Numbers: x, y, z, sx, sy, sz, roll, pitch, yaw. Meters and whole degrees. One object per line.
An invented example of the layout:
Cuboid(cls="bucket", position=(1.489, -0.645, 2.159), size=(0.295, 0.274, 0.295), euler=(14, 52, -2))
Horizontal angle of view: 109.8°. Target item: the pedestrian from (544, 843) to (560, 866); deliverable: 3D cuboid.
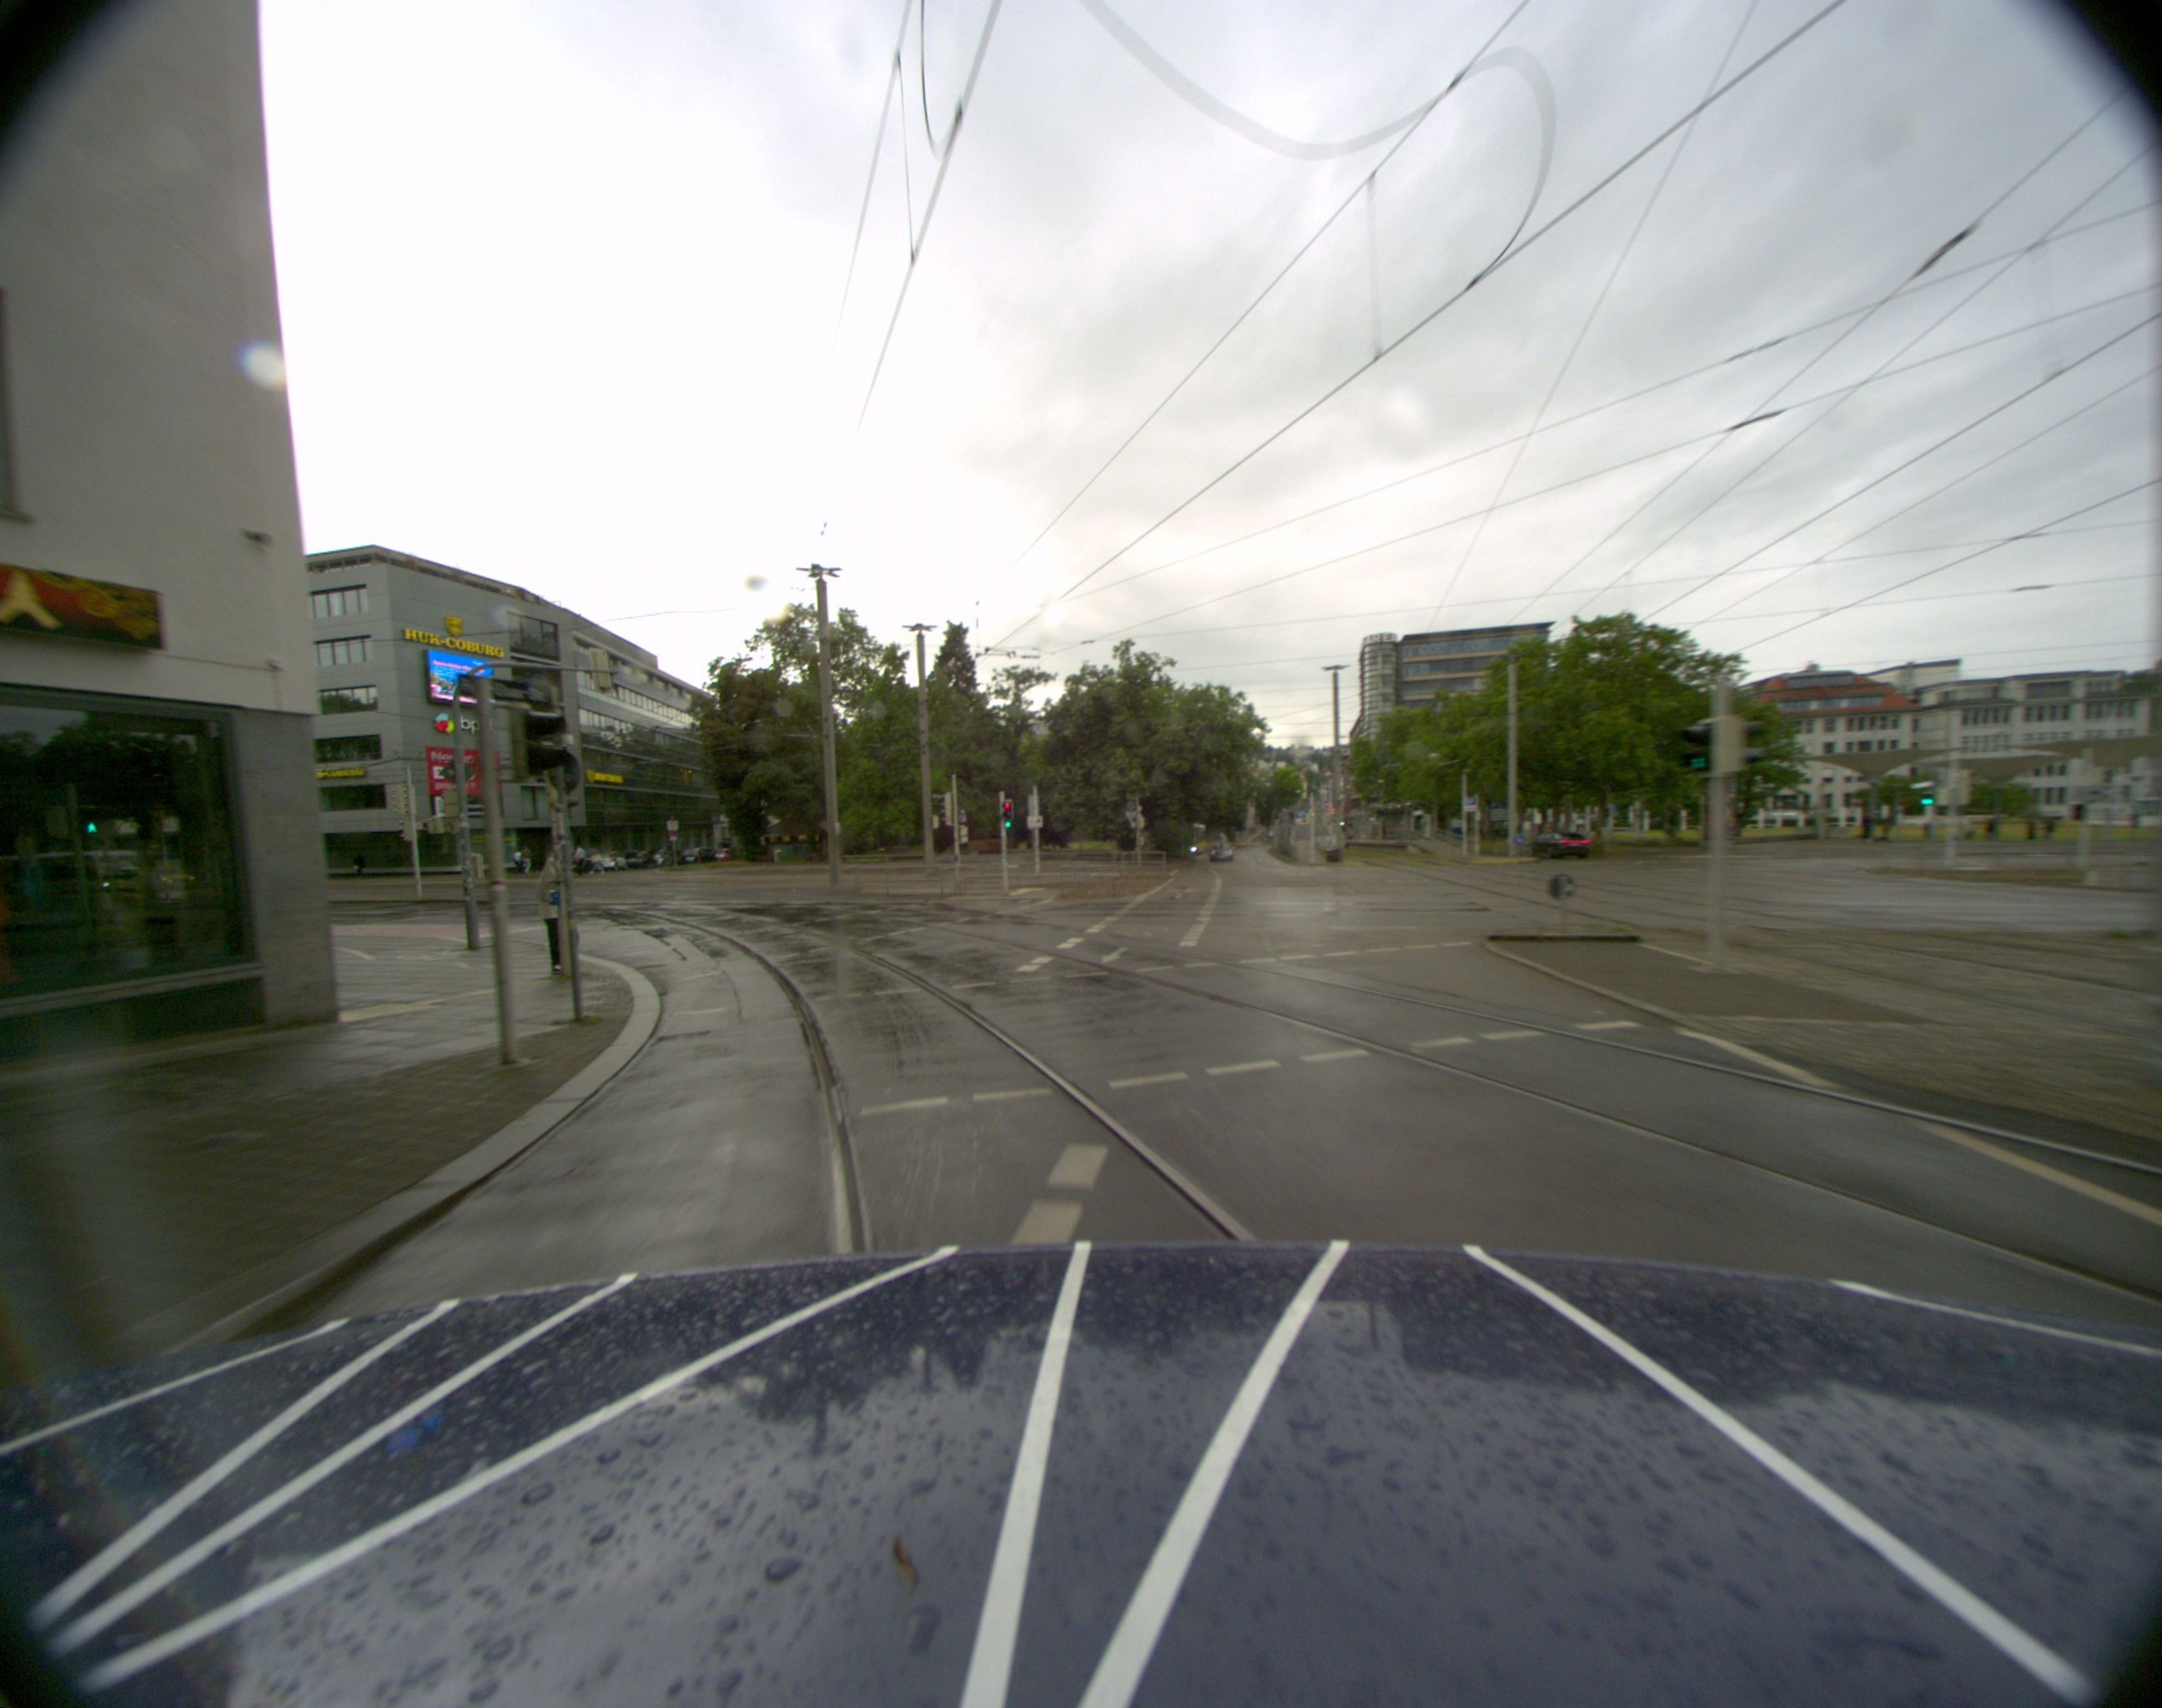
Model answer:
Cuboid(cls="pedestrian", position=(-37.676, 0.051, 54.114), size=(0.634, 1.586, 0.589), euler=(1, 6, 32))

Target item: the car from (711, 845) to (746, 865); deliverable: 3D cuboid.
Cuboid(cls="car", position=(-28.939, 0.054, 62.483), size=(1.703, 1.440, 3.536), euler=(-2, 2, -11))

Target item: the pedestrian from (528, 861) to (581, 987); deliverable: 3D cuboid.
Cuboid(cls="pedestrian", position=(-7.571, 0.972, 10.924), size=(0.529, 1.703, 0.704), euler=(-3, 3, -36))

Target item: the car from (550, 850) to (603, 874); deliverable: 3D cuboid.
Cuboid(cls="car", position=(-35.803, 0.541, 54.050), size=(1.703, 1.542, 3.737), euler=(-2, 2, -9))

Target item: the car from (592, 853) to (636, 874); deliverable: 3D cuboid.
Cuboid(cls="car", position=(-35.955, 0.696, 58.603), size=(1.703, 1.446, 3.736), euler=(-2, 2, -12))

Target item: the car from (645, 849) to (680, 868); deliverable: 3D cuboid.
Cuboid(cls="car", position=(-37.271, 0.388, 67.791), size=(1.703, 1.546, 3.535), euler=(-2, 2, -12))

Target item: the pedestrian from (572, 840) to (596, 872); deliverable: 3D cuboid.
Cuboid(cls="pedestrian", position=(-30.073, 0.107, 45.934), size=(0.915, 1.853, 1.000), euler=(-7, 7, -41))

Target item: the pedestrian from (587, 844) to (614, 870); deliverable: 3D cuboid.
Cuboid(cls="pedestrian", position=(-30.773, 0.212, 48.668), size=(1.001, 1.586, 0.914), euler=(0, 6, 23))

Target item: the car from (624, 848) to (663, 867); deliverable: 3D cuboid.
Cuboid(cls="car", position=(-36.316, 0.250, 63.168), size=(1.703, 1.446, 3.736), euler=(-2, 2, -12))

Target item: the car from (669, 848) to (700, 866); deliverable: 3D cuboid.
Cuboid(cls="car", position=(-37.576, 0.254, 72.087), size=(1.703, 1.546, 3.535), euler=(-2, 2, -12))

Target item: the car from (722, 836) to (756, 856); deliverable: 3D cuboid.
Cuboid(cls="car", position=(-40.596, -0.979, 90.413), size=(2.333, 2.208, 5.063), euler=(-2, 2, -9))

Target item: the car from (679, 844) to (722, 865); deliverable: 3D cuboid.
Cuboid(cls="car", position=(-28.388, 0.010, 56.812), size=(1.702, 1.440, 3.537), euler=(-2, 2, -7))

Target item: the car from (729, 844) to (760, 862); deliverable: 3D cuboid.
Cuboid(cls="car", position=(-30.229, -0.106, 68.352), size=(1.703, 1.440, 3.536), euler=(-2, 2, -11))

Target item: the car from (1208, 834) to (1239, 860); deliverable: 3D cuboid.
Cuboid(cls="car", position=(10.545, -0.543, 56.210), size=(1.996, 1.696, 4.003), euler=(-1, 2, 14))

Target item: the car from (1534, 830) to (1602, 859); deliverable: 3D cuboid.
Cuboid(cls="car", position=(27.508, -0.590, 43.081), size=(2.101, 1.497, 4.736), euler=(-1, 2, 18))
